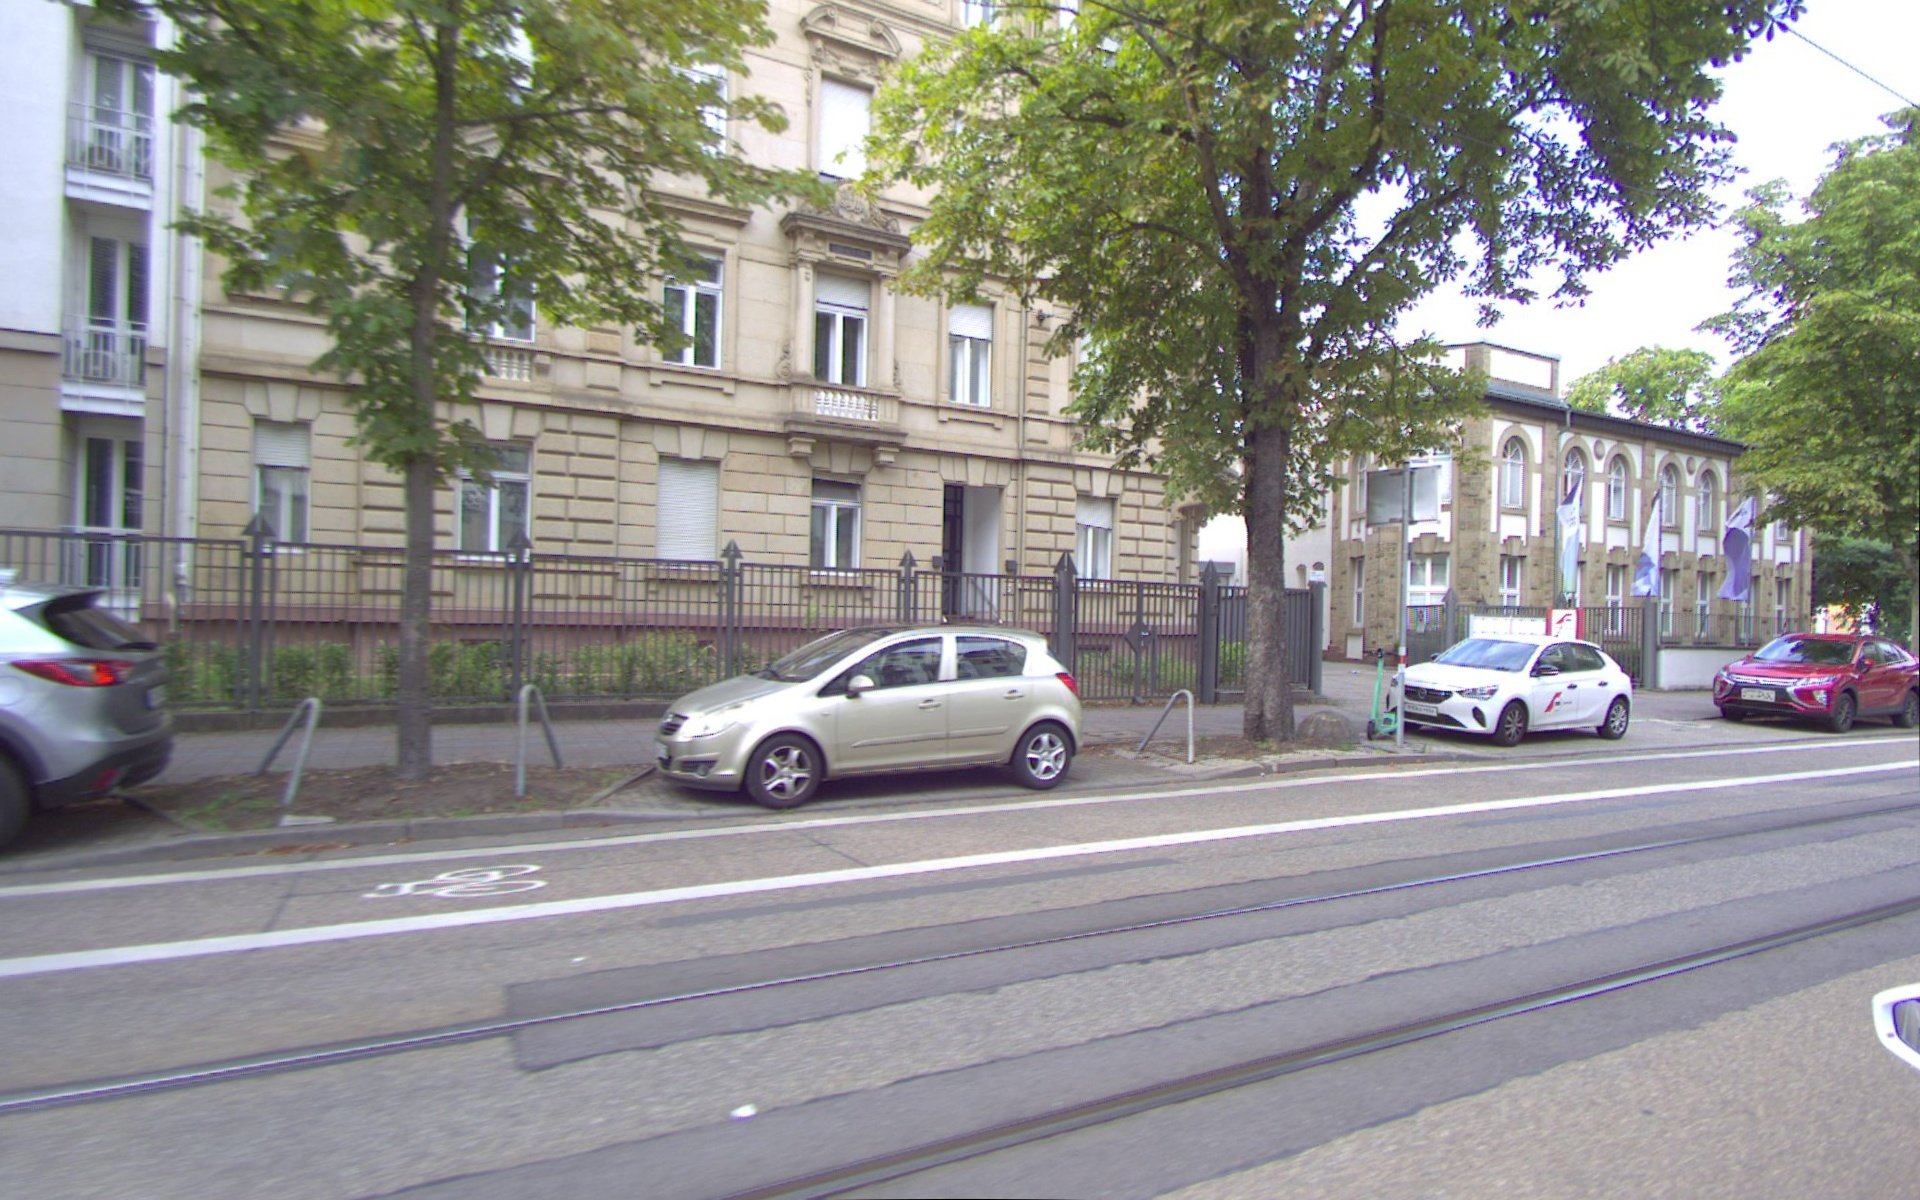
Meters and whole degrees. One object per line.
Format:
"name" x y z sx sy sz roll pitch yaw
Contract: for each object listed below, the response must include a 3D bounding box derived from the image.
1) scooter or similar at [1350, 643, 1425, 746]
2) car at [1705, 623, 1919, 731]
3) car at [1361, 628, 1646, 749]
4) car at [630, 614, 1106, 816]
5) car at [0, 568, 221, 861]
"scooter or similar" 5.600 1.198 13.131 0.554 1.239 1.318 1 0 38
"car" 15.780 1.362 18.370 4.487 1.677 1.713 2 1 -29
"car" 7.903 1.214 14.554 3.974 1.443 1.713 2 1 -29
"car" -0.780 0.928 9.203 4.029 1.487 1.594 2 0 -29
"car" -7.161 0.617 5.883 4.303 1.696 1.703 2 0 -29
